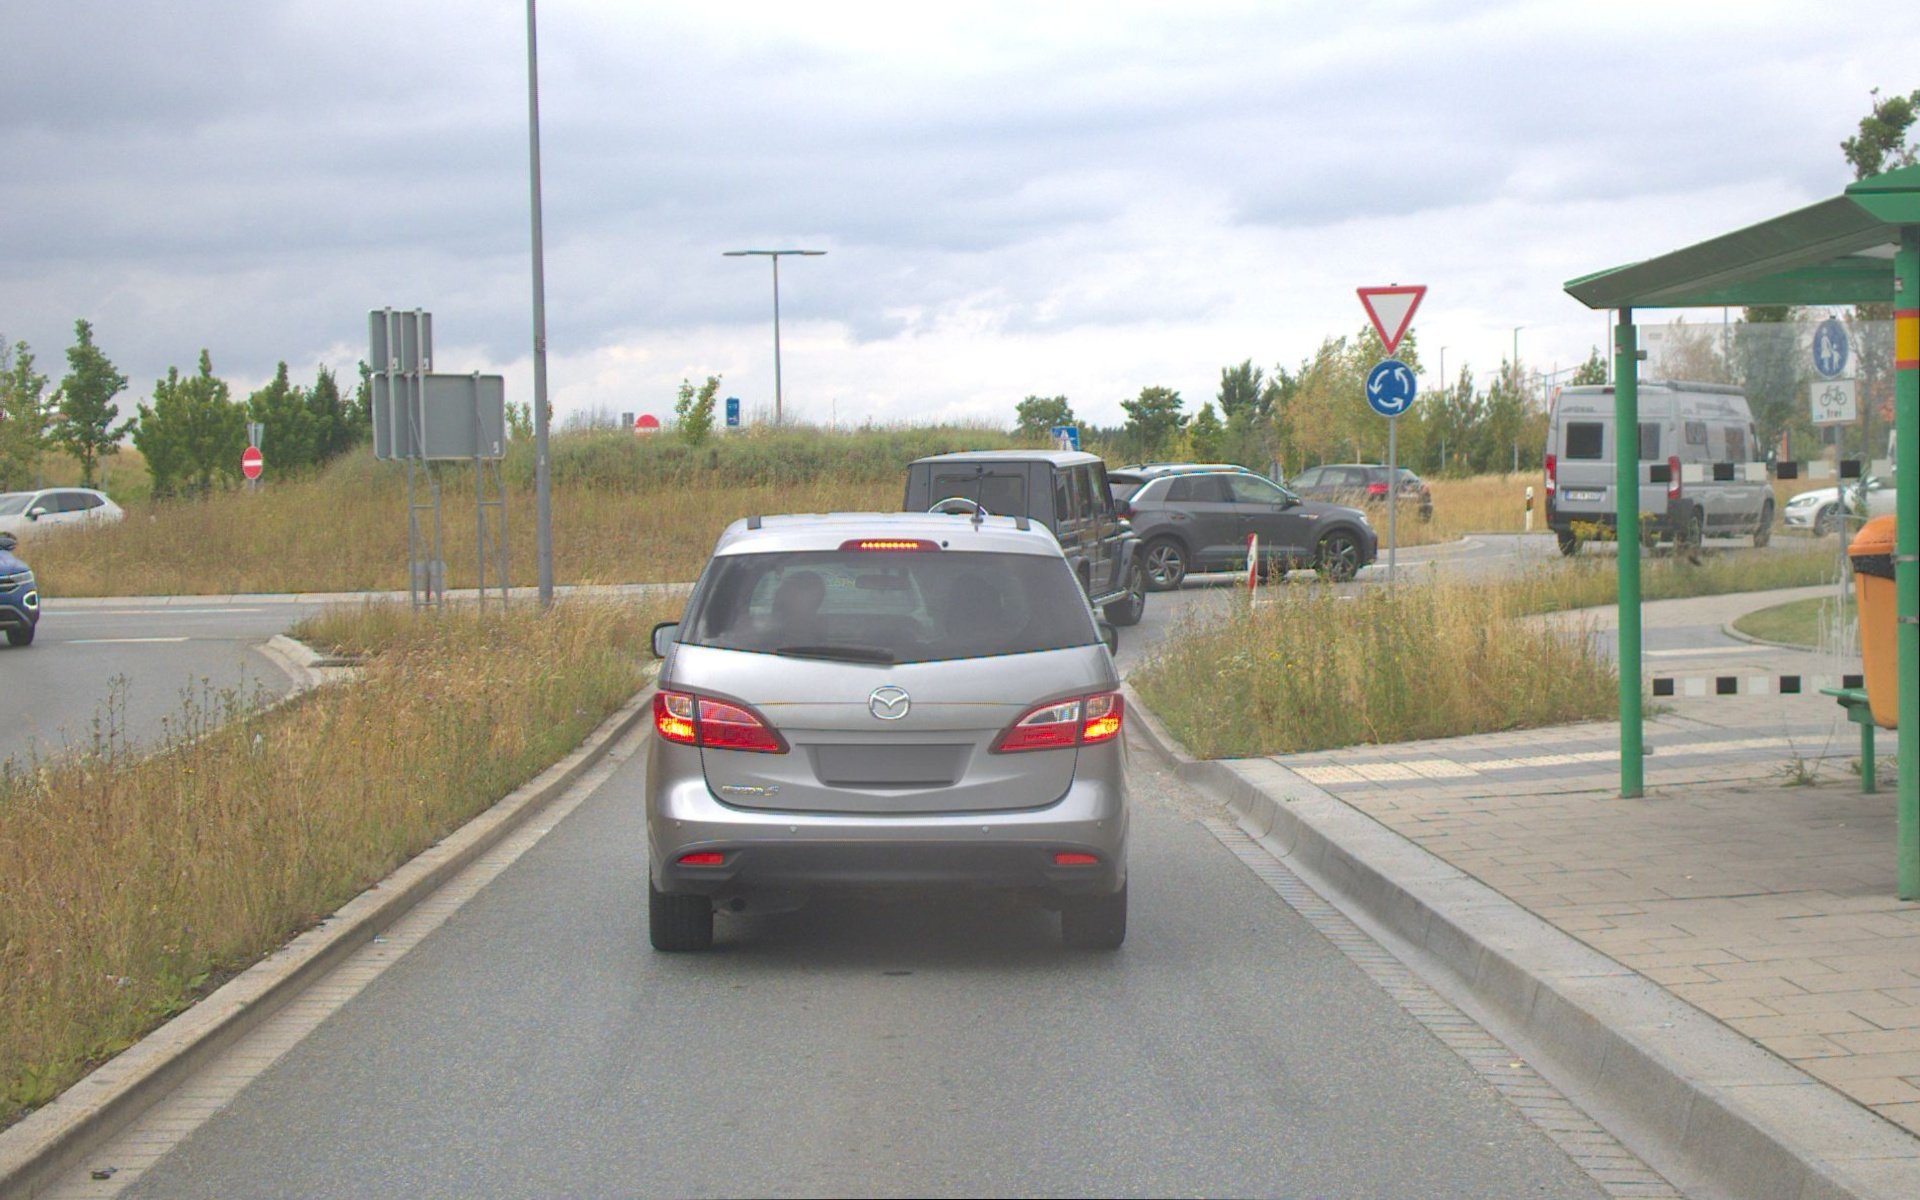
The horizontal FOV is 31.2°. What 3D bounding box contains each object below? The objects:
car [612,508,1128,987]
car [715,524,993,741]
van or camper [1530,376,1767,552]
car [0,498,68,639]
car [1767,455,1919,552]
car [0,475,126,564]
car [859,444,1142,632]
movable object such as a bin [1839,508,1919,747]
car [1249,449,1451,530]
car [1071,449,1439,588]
[{"bbox_3d":[-0.367,0.447,13.465,1.729,1.594,3.807,0,2,-2],"label":"car"},{"bbox_3d":[-0.703,0.174,25.538,1.845,1.413,4.225,-1,2,1],"label":"car"},{"bbox_3d":[10.439,-2.015,51.815,2.306,2.497,5.199,0,2,25],"label":"van or camper"},{"bbox_3d":[-11.882,-0.307,39.389,1.841,1.523,4.227,-3,1,-34],"label":"car"},{"bbox_3d":[17.440,-1.792,63.965,4.604,1.751,1.999,0,1,10],"label":"car"},{"bbox_3d":[-18.749,-1.580,67.752,2.030,1.684,4.206,0,2,34],"label":"car"},{"bbox_3d":[0.509,-0.654,35.924,2.059,1.819,4.784,0,1,12],"label":"car"},{"bbox_3d":[3.259,0.086,11.637,0.456,0.795,0.380,-1,1,-1],"label":"movable object such as a bin"},{"bbox_3d":[7.641,-2.161,67.717,1.993,1.510,4.000,-2,1,-28],"label":"car"},{"bbox_3d":[3.785,-1.061,44.165,4.189,1.587,2.065,-3,2,-23],"label":"car"}]
